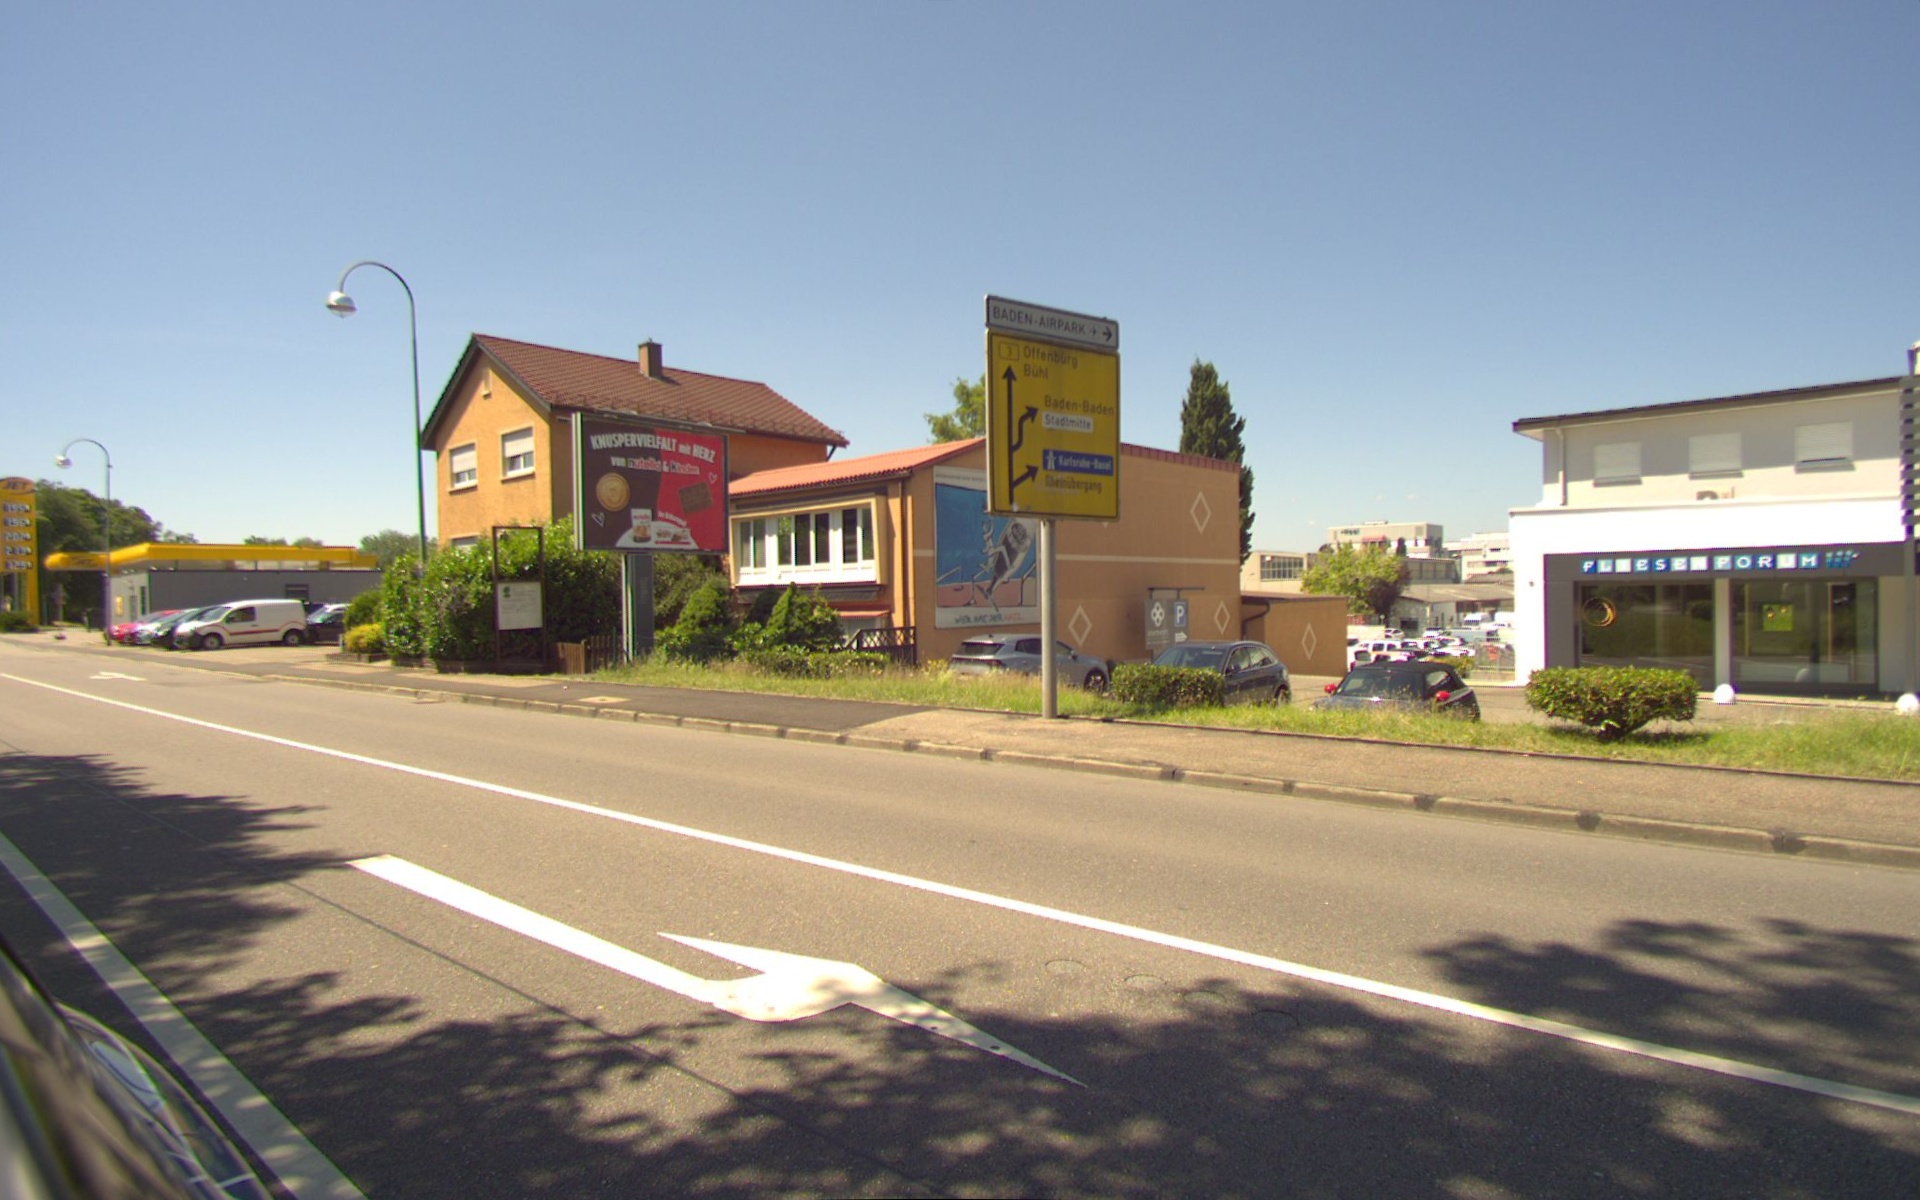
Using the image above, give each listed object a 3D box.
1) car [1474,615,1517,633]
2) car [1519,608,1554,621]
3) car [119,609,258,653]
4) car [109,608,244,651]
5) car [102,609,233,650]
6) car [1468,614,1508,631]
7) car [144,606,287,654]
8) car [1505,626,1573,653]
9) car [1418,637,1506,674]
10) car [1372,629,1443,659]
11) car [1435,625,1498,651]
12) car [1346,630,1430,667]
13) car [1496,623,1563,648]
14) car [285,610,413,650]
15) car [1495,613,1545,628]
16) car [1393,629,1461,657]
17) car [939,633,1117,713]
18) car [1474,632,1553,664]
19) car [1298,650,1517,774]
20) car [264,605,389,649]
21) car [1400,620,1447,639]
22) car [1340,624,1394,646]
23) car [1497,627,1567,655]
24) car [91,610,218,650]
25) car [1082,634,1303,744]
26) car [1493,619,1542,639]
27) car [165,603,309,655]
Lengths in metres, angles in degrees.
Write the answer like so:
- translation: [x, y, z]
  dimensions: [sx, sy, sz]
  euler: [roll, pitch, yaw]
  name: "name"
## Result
- translation: [58.918, 2.635, 111.372]
  dimensions: [3.775, 1.768, 1.707]
  euler: [-2, 1, 45]
  name: "car"
- translation: [77.217, 1.938, 135.614]
  dimensions: [3.774, 1.768, 1.707]
  euler: [-1, -1, 44]
  name: "car"
- translation: [-32.659, 1.260, 42.968]
  dimensions: [1.871, 1.773, 4.351]
  euler: [-1, -1, 35]
  name: "car"
- translation: [-34.343, 1.258, 44.480]
  dimensions: [1.871, 1.773, 4.351]
  euler: [-1, -1, 35]
  name: "car"
- translation: [-35.951, 1.293, 46.033]
  dimensions: [1.871, 1.773, 4.351]
  euler: [-1, -1, 35]
  name: "car"
- translation: [61.575, 2.603, 117.948]
  dimensions: [3.774, 1.768, 1.707]
  euler: [-1, 2, 44]
  name: "car"
- translation: [-29.285, 1.148, 39.905]
  dimensions: [1.871, 1.773, 4.198]
  euler: [-1, -1, 35]
  name: "car"
- translation: [39.837, 2.676, 69.641]
  dimensions: [3.774, 1.768, 1.707]
  euler: [-1, -1, 44]
  name: "car"
- translation: [26.222, 2.864, 52.917]
  dimensions: [3.774, 1.768, 1.707]
  euler: [-1, -1, 44]
  name: "car"
- translation: [28.293, 2.736, 64.046]
  dimensions: [3.774, 1.768, 1.707]
  euler: [-1, -1, 44]
  name: "car"
- translation: [36.508, 2.717, 72.976]
  dimensions: [3.774, 1.768, 1.707]
  euler: [-1, -1, 44]
  name: "car"
- translation: [24.555, 2.746, 58.166]
  dimensions: [4.001, 2.029, 1.971]
  euler: [-1, -1, 44]
  name: "car"
- translation: [42.541, 2.632, 75.611]
  dimensions: [4.055, 1.768, 1.707]
  euler: [-1, -1, 44]
  name: "car"
- translation: [-26.182, 1.253, 43.514]
  dimensions: [1.871, 1.575, 4.351]
  euler: [-1, -1, 35]
  name: "car"
- translation: [71.685, 2.614, 129.567]
  dimensions: [5.303, 1.768, 2.037]
  euler: [-1, -1, 44]
  name: "car"
- translation: [31.102, 2.812, 67.430]
  dimensions: [3.774, 1.768, 1.707]
  euler: [-1, -1, 44]
  name: "car"
- translation: [1.653, 1.619, 23.661]
  dimensions: [4.165, 1.621, 1.773]
  euler: [0, -1, -42]
  name: "car"
- translation: [32.575, 2.775, 59.621]
  dimensions: [3.774, 1.768, 1.707]
  euler: [-1, -1, 44]
  name: "car"
- translation: [7.184, 1.650, 16.076]
  dimensions: [4.039, 1.544, 1.772]
  euler: [0, -1, -44]
  name: "car"
- translation: [-28.019, 1.161, 44.873]
  dimensions: [1.871, 1.839, 4.351]
  euler: [-2, -1, 35]
  name: "car"
- translation: [44.550, 2.828, 97.354]
  dimensions: [3.774, 1.768, 1.707]
  euler: [-1, 0, 44]
  name: "car"
- translation: [34.013, 2.931, 84.620]
  dimensions: [3.774, 1.768, 1.707]
  euler: [-1, -1, 44]
  name: "car"
- translation: [38.221, 2.696, 67.644]
  dimensions: [3.774, 1.768, 1.707]
  euler: [-1, -1, 44]
  name: "car"
- translation: [-37.828, 1.375, 47.632]
  dimensions: [1.871, 1.773, 4.351]
  euler: [-1, -1, 35]
  name: "car"
- translation: [4.355, 1.514, 18.536]
  dimensions: [4.462, 1.654, 1.772]
  euler: [0, -1, -44]
  name: "car"
- translation: [53.059, 2.747, 96.325]
  dimensions: [3.774, 1.768, 1.707]
  euler: [-1, 1, 44]
  name: "car"
- translation: [-27.591, 1.060, 38.730]
  dimensions: [1.871, 1.883, 4.143]
  euler: [-1, -1, 35]
  name: "car"
